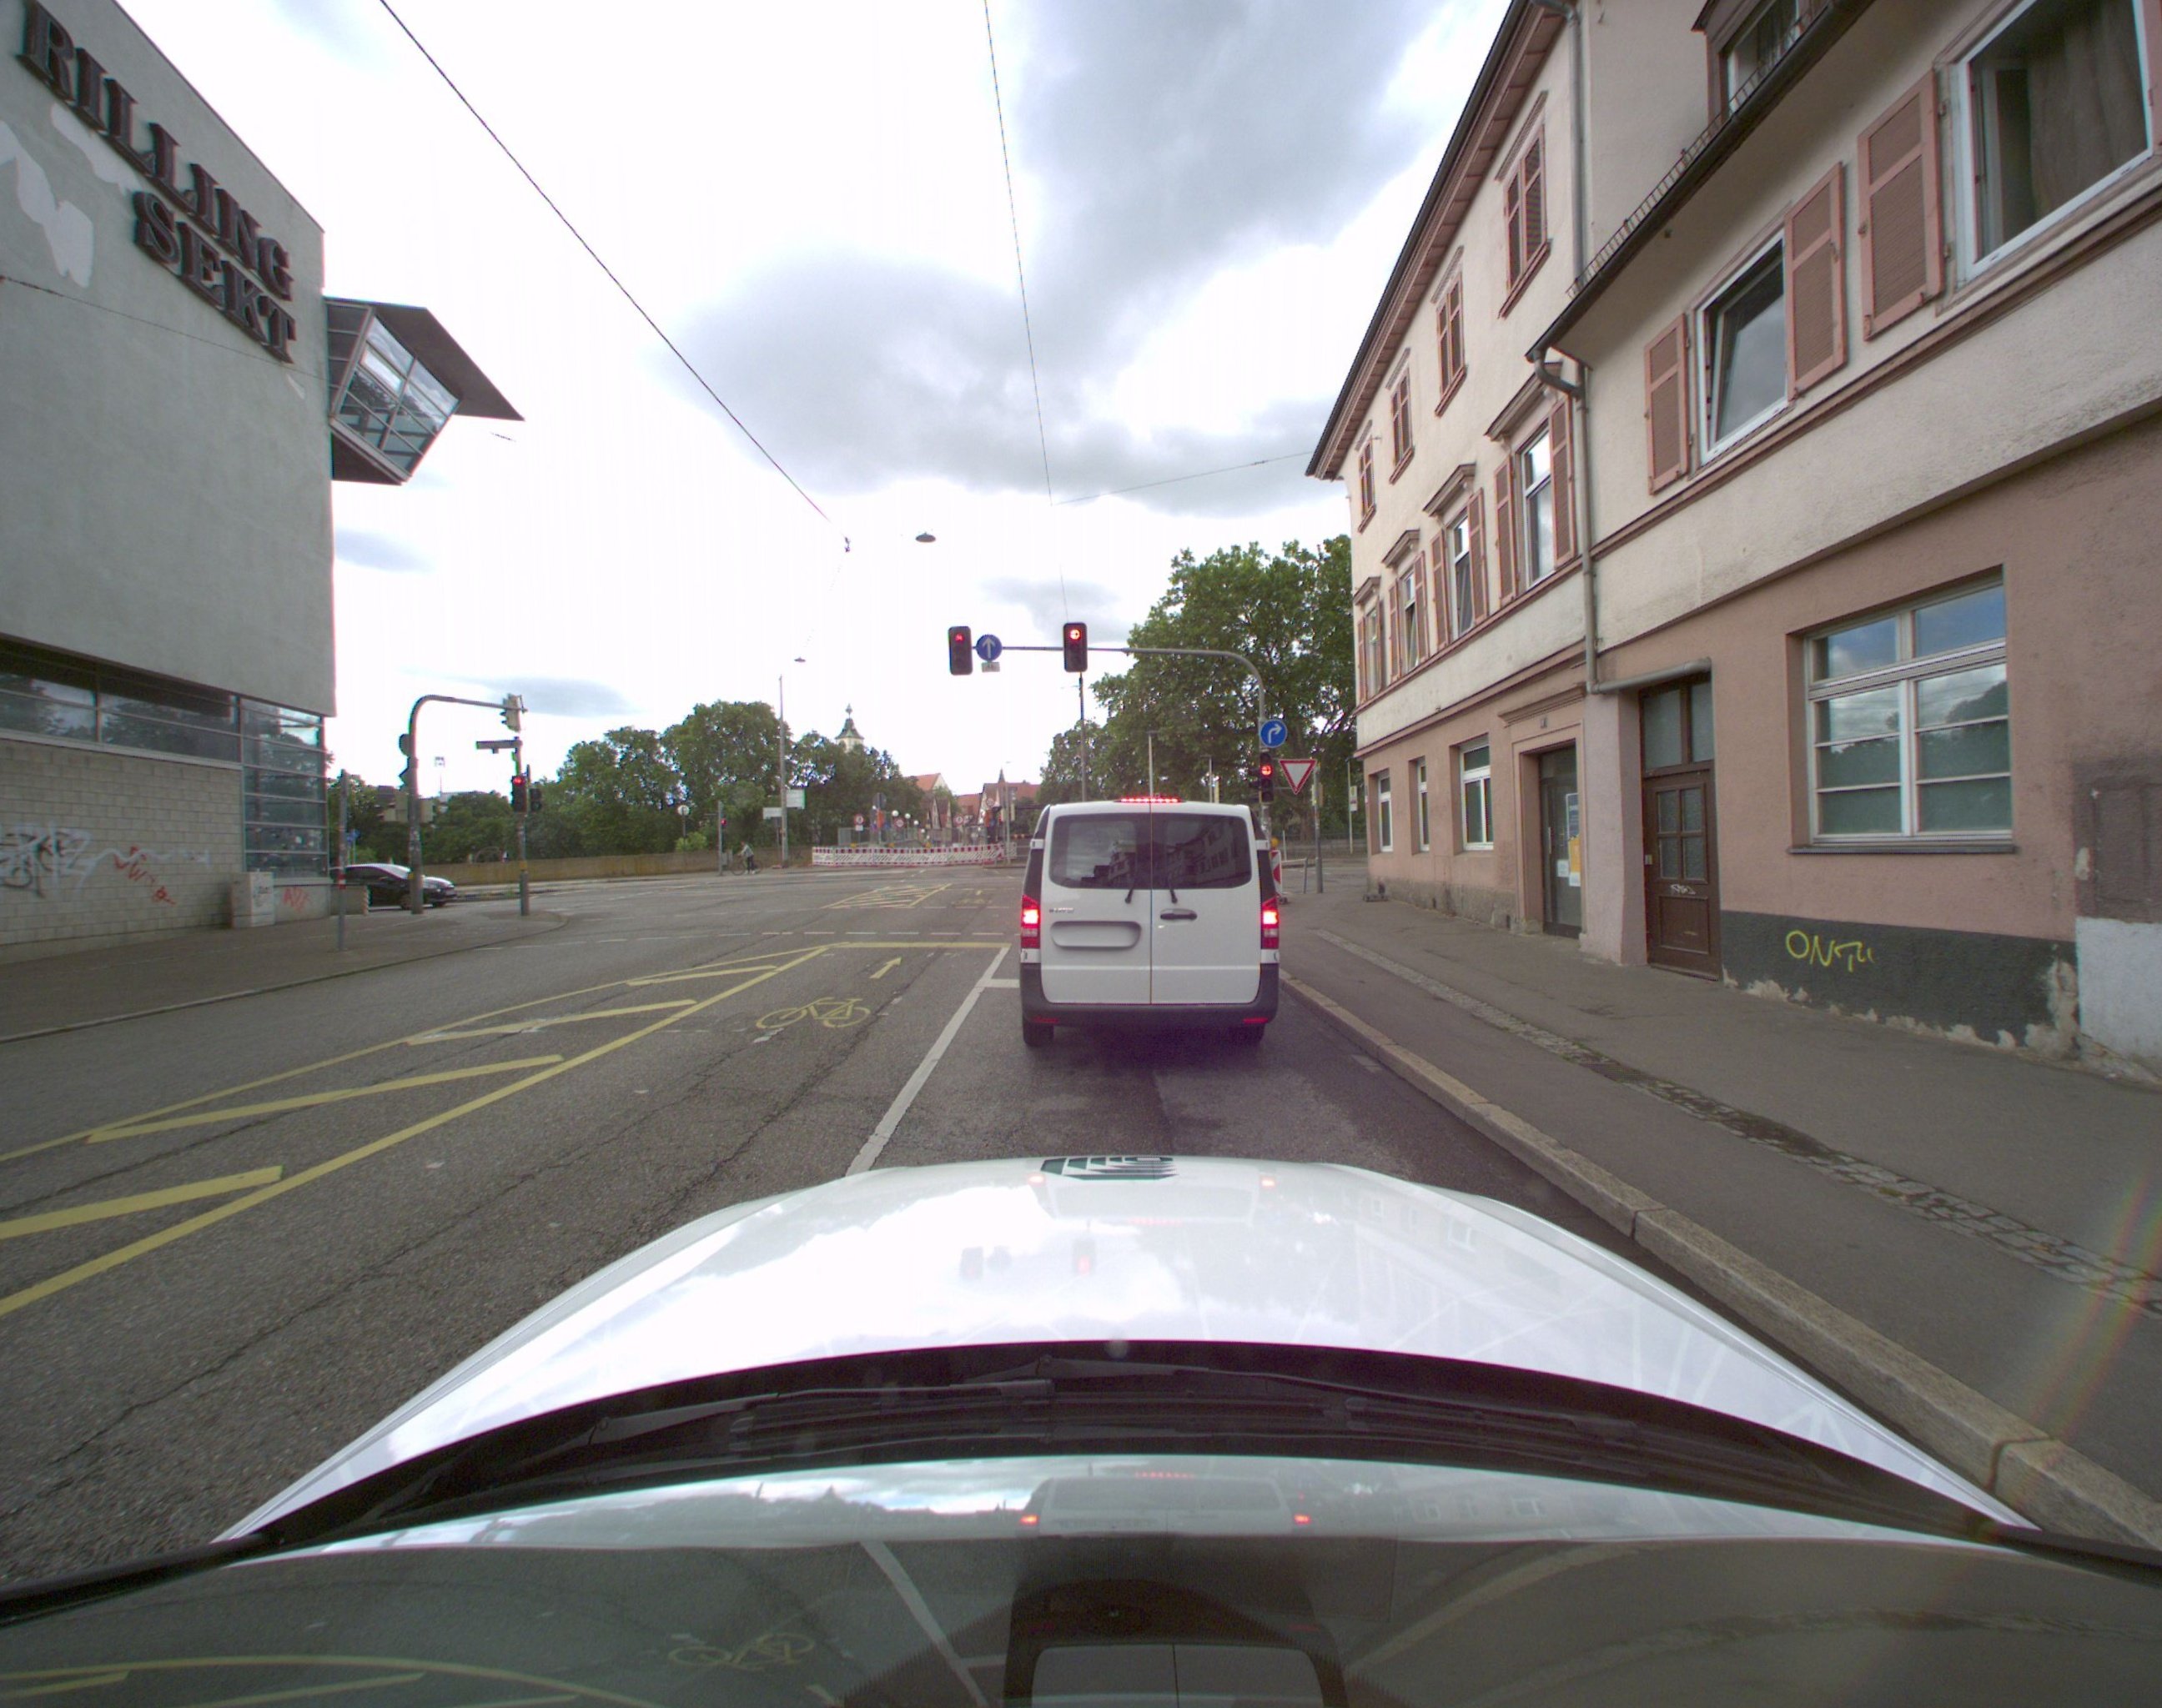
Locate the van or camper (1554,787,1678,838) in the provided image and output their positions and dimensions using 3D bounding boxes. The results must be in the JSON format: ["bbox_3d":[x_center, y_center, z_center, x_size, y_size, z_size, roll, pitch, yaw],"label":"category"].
[{"bbox_3d":[29.549,-2.269,45.159,5.364,2.514,2.040,-2,-2,6],"label":"van or camper"}]

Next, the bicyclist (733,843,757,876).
[{"bbox_3d":[-17.957,0.271,43.505,1.010,1.743,0.746,-2,1,-40],"label":"bicyclist"}]

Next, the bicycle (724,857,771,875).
[{"bbox_3d":[-17.845,0.632,43.607,2.150,0.892,0.751,-3,2,-42],"label":"bicycle"}]

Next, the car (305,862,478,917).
[{"bbox_3d":[-21.984,1.092,26.143,3.757,1.428,1.816,-3,2,-20],"label":"car"}]

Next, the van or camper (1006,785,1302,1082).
[{"bbox_3d":[0.442,0.448,7.539,1.932,1.924,4.439,0,2,-1],"label":"van or camper"}]
